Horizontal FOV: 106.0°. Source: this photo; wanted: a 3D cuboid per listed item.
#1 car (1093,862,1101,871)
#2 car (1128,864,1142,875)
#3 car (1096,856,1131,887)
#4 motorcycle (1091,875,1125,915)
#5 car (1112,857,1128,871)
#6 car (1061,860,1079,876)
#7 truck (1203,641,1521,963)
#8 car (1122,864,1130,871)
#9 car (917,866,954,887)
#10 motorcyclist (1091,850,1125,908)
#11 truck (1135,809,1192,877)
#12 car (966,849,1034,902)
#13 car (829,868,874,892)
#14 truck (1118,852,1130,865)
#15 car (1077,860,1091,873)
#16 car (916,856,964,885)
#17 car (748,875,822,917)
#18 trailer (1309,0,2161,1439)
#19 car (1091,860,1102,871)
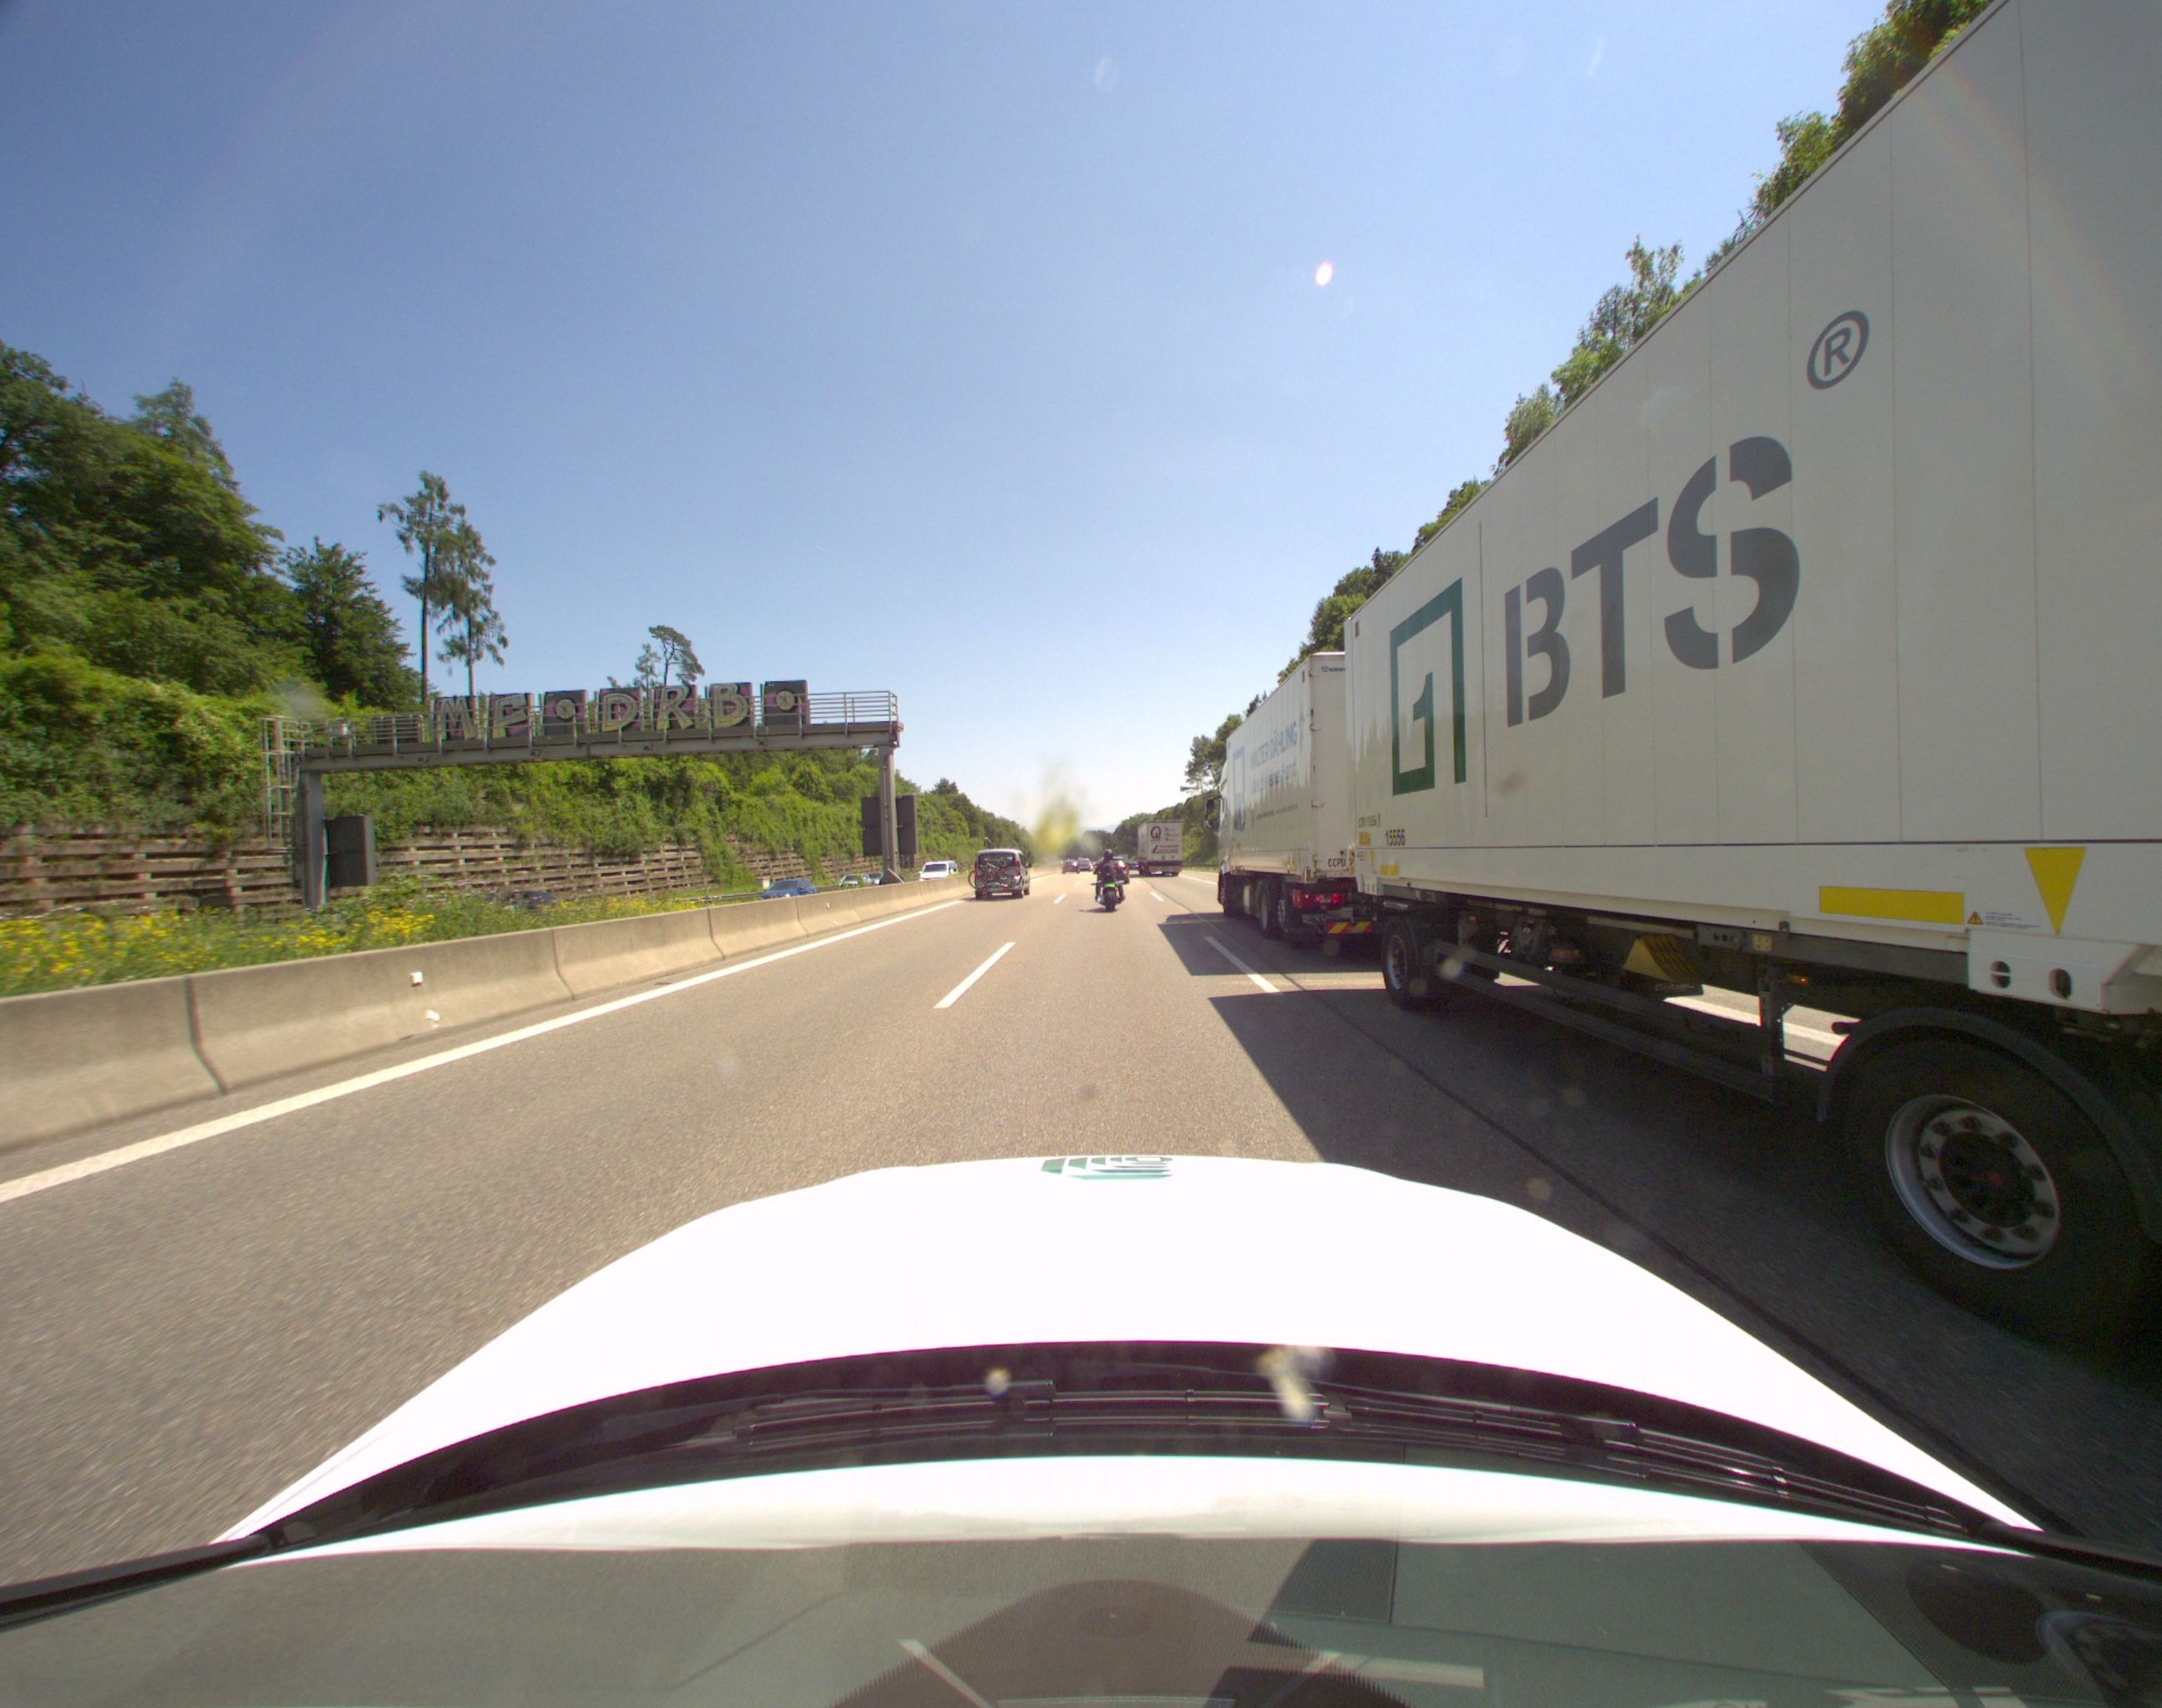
[{"bbox_3d":[3.545,2.767,178.094,1.824,1.810,4.121,-1,0,1],"label":"car"},{"bbox_3d":[7.946,2.265,120.378,1.824,1.527,4.028,-1,0,1],"label":"car"},{"bbox_3d":[1.760,0.904,44.913,1.839,1.557,4.441,-1,0,1],"label":"car"},{"bbox_3d":[0.754,1.084,22.065,0.859,0.982,2.132,-1,-1,3],"label":"motorcycle"},{"bbox_3d":[4.518,1.167,95.194,1.824,1.558,4.121,-1,0,1],"label":"car"},{"bbox_3d":[-1.181,1.506,88.894,1.751,1.544,4.396,-1,0,1],"label":"car"},{"bbox_3d":[4.369,-0.650,15.688,2.670,4.059,10.628,-1,0,1],"label":"truck"},{"bbox_3d":[10.775,3.335,195.766,1.824,1.527,4.028,-1,0,1],"label":"car"},{"bbox_3d":[-12.434,1.868,69.889,1.954,1.495,5.887,-3,0,1],"label":"car"},{"bbox_3d":[0.744,0.677,22.064,0.852,1.515,0.914,-1,-1,2],"label":"motorcyclist"},{"bbox_3d":[6.360,-0.737,65.886,3.370,4.718,17.715,0,0,2],"label":"truck"},{"bbox_3d":[-3.008,0.778,31.227,1.891,1.848,5.484,-1,-1,1],"label":"car"},{"bbox_3d":[-16.936,1.926,60.318,1.891,1.526,4.375,-3,0,2],"label":"car"},{"bbox_3d":[11.632,1.187,219.745,3.056,3.346,9.656,0,0,2],"label":"truck"},{"bbox_3d":[0.484,1.748,117.039,1.824,1.810,4.121,-1,0,1],"label":"car"},{"bbox_3d":[-9.351,1.037,54.377,1.990,1.687,5.996,-3,0,1],"label":"car"},{"bbox_3d":[-13.513,1.893,37.429,1.701,1.605,4.200,-3,0,1],"label":"car"},{"bbox_3d":[4.105,-0.633,5.232,2.670,4.176,10.068,-1,0,2],"label":"trailer"},{"bbox_3d":[2.596,1.964,137.481,1.824,1.810,4.121,-1,0,1],"label":"car"}]
